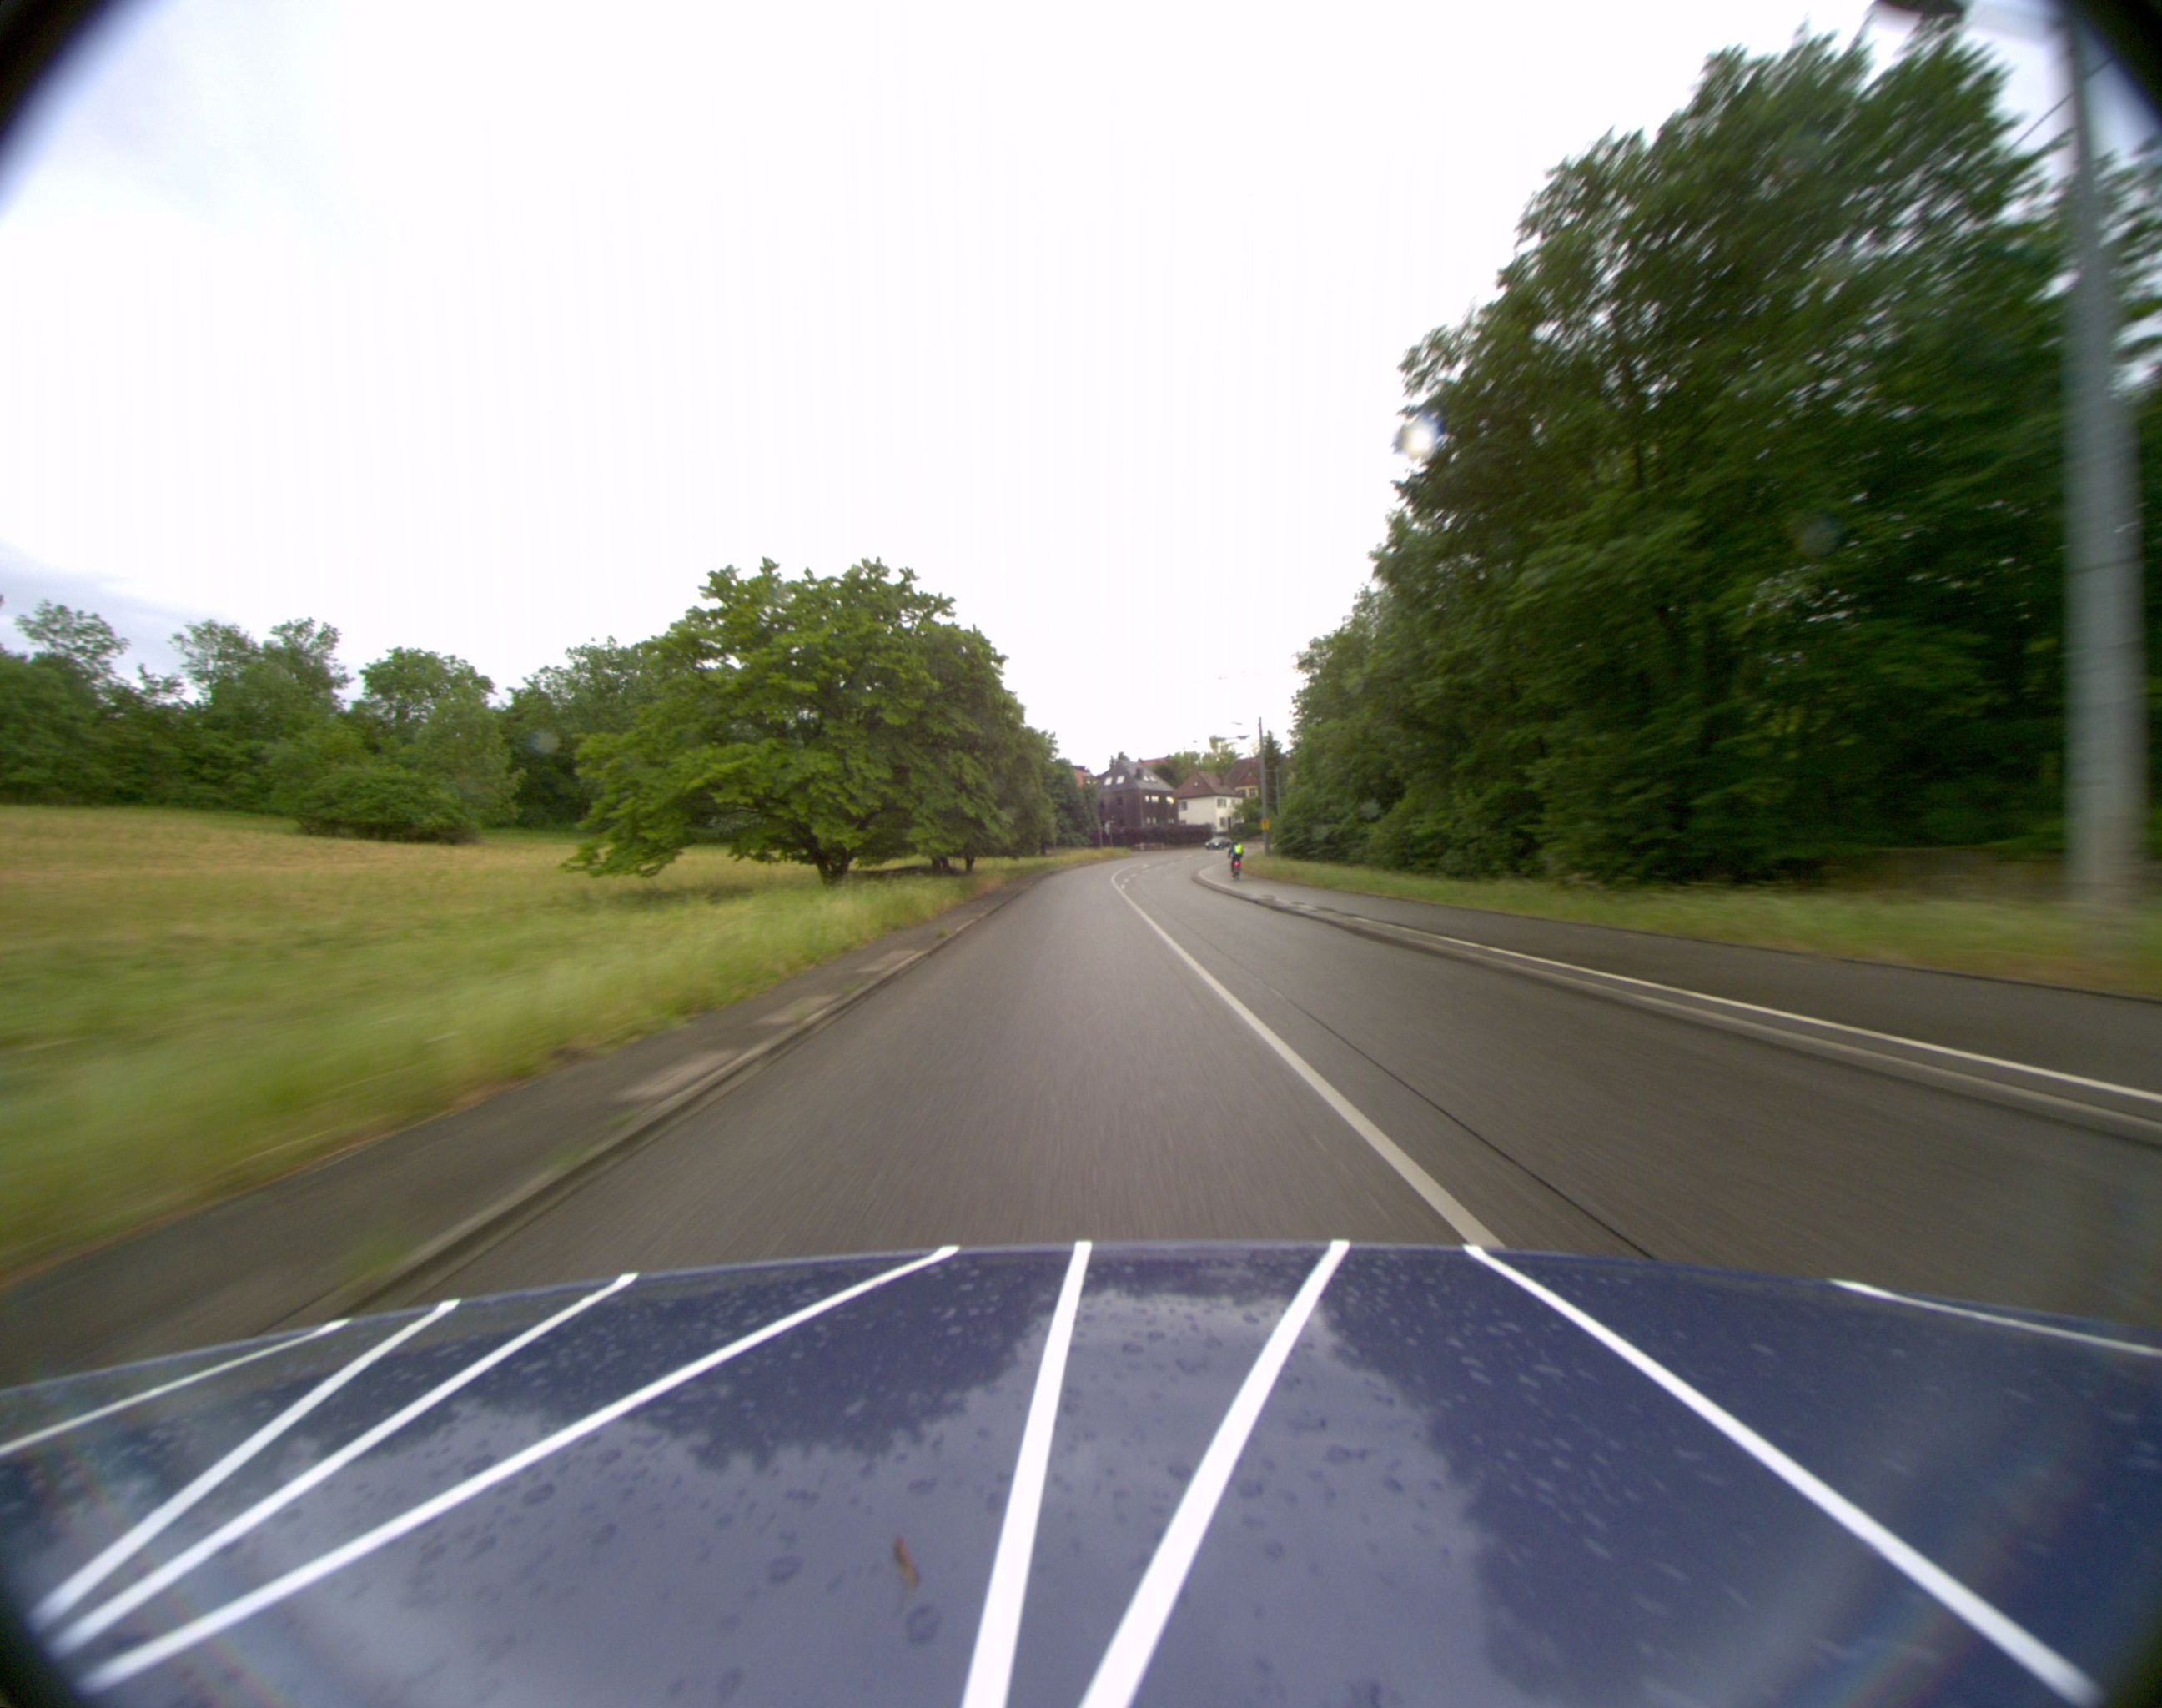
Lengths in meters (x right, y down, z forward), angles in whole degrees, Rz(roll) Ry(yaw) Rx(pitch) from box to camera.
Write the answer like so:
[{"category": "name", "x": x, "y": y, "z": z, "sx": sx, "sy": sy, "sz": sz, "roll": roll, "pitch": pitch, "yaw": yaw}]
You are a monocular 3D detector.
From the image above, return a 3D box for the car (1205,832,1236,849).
[{"category": "car", "x": 17.041, "y": -1.670, "z": 92.935, "sx": 1.994, "sy": 1.707, "sz": 4.006, "roll": -2, "pitch": 3, "yaw": 39}]

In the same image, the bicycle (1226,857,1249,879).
[{"category": "bicycle", "x": 7.302, "y": 0.644, "z": 35.582, "sx": 0.725, "sy": 0.936, "sz": 2.551, "roll": -4, "pitch": 0, "yaw": 6}]

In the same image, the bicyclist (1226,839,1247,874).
[{"category": "bicyclist", "x": 7.241, "y": 0.114, "z": 35.444, "sx": 0.710, "sy": 1.547, "sz": 1.171, "roll": -4, "pitch": 0, "yaw": 6}]
